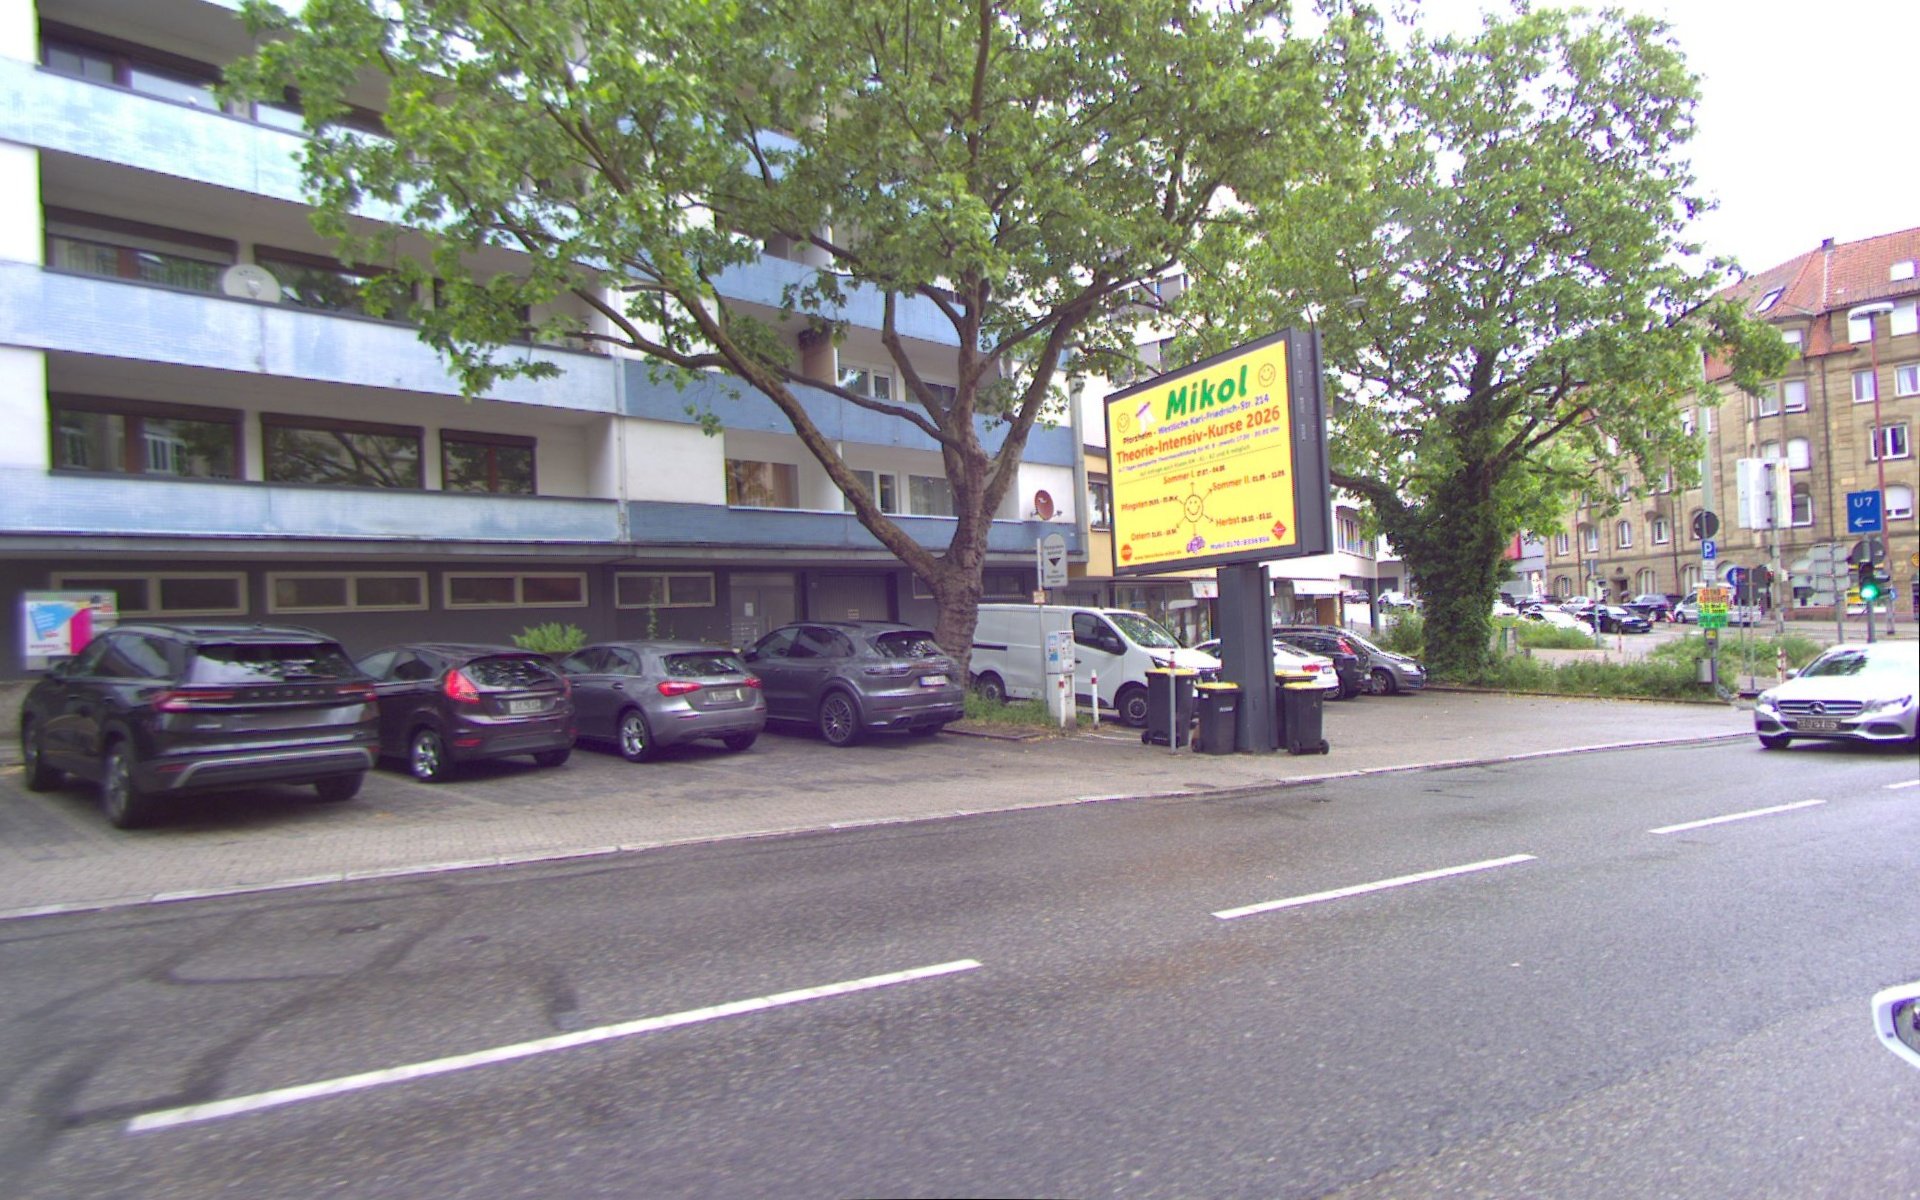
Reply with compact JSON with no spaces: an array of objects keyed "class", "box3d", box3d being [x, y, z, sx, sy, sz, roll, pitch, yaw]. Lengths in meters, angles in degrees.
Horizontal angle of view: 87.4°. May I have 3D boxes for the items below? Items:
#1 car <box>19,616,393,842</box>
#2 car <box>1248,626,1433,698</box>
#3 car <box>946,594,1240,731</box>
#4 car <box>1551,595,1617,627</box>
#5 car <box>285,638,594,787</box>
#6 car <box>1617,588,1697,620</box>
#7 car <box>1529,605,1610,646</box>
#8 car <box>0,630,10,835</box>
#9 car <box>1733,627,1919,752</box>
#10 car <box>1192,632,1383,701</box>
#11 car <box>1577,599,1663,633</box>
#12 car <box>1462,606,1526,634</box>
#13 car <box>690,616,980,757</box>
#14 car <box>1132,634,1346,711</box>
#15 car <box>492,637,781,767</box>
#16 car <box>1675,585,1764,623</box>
[{"class":"car","box3d":[-7.340,1.023,9.629,4.312,1.694,1.847,-1,-2,39]},{"class":"car","box3d":[9.582,1.500,25.423,4.072,1.675,1.762,-1,-2,38]},{"class":"car","box3d":[2.269,1.034,18.067,5.001,2.133,1.983,-1,-2,41]},{"class":"car","box3d":[44.005,0.776,71.000,1.961,2.130,4.291,0,1,-1]},{"class":"car","box3d":[-6.278,1.201,11.973,3.929,1.449,1.692,-1,-2,36]},{"class":"car","box3d":[43.171,0.225,62.373,1.961,1.863,4.291,0,1,-1]},{"class":"car","box3d":[31.303,1.319,51.706,1.841,2.040,4.002,0,-2,2]},{"class":"car","box3d":[-9.742,1.034,8.463,4.303,1.595,1.935,-1,-2,39]},{"class":"car","box3d":[13.170,1.221,14.390,4.419,1.546,1.730,1,-5,-30]},{"class":"car","box3d":[7.668,1.507,23.671,3.926,1.469,1.761,-1,-2,41]},{"class":"car","box3d":[35.466,0.833,54.126,1.960,1.749,4.250,-1,0,2]},{"class":"car","box3d":[35.484,1.297,66.850,1.961,1.749,4.250,-2,-1,0]},{"class":"car","box3d":[-1.967,1.166,15.074,4.305,1.807,1.930,-1,-2,41]},{"class":"car","box3d":[5.977,1.492,21.757,4.122,1.475,1.786,-1,-2,41]},{"class":"car","box3d":[-4.382,1.243,13.432,3.870,1.449,1.742,-1,-2,36]},{"class":"car","box3d":[44.301,0.213,58.719,1.961,2.130,4.291,0,1,-1]}]
